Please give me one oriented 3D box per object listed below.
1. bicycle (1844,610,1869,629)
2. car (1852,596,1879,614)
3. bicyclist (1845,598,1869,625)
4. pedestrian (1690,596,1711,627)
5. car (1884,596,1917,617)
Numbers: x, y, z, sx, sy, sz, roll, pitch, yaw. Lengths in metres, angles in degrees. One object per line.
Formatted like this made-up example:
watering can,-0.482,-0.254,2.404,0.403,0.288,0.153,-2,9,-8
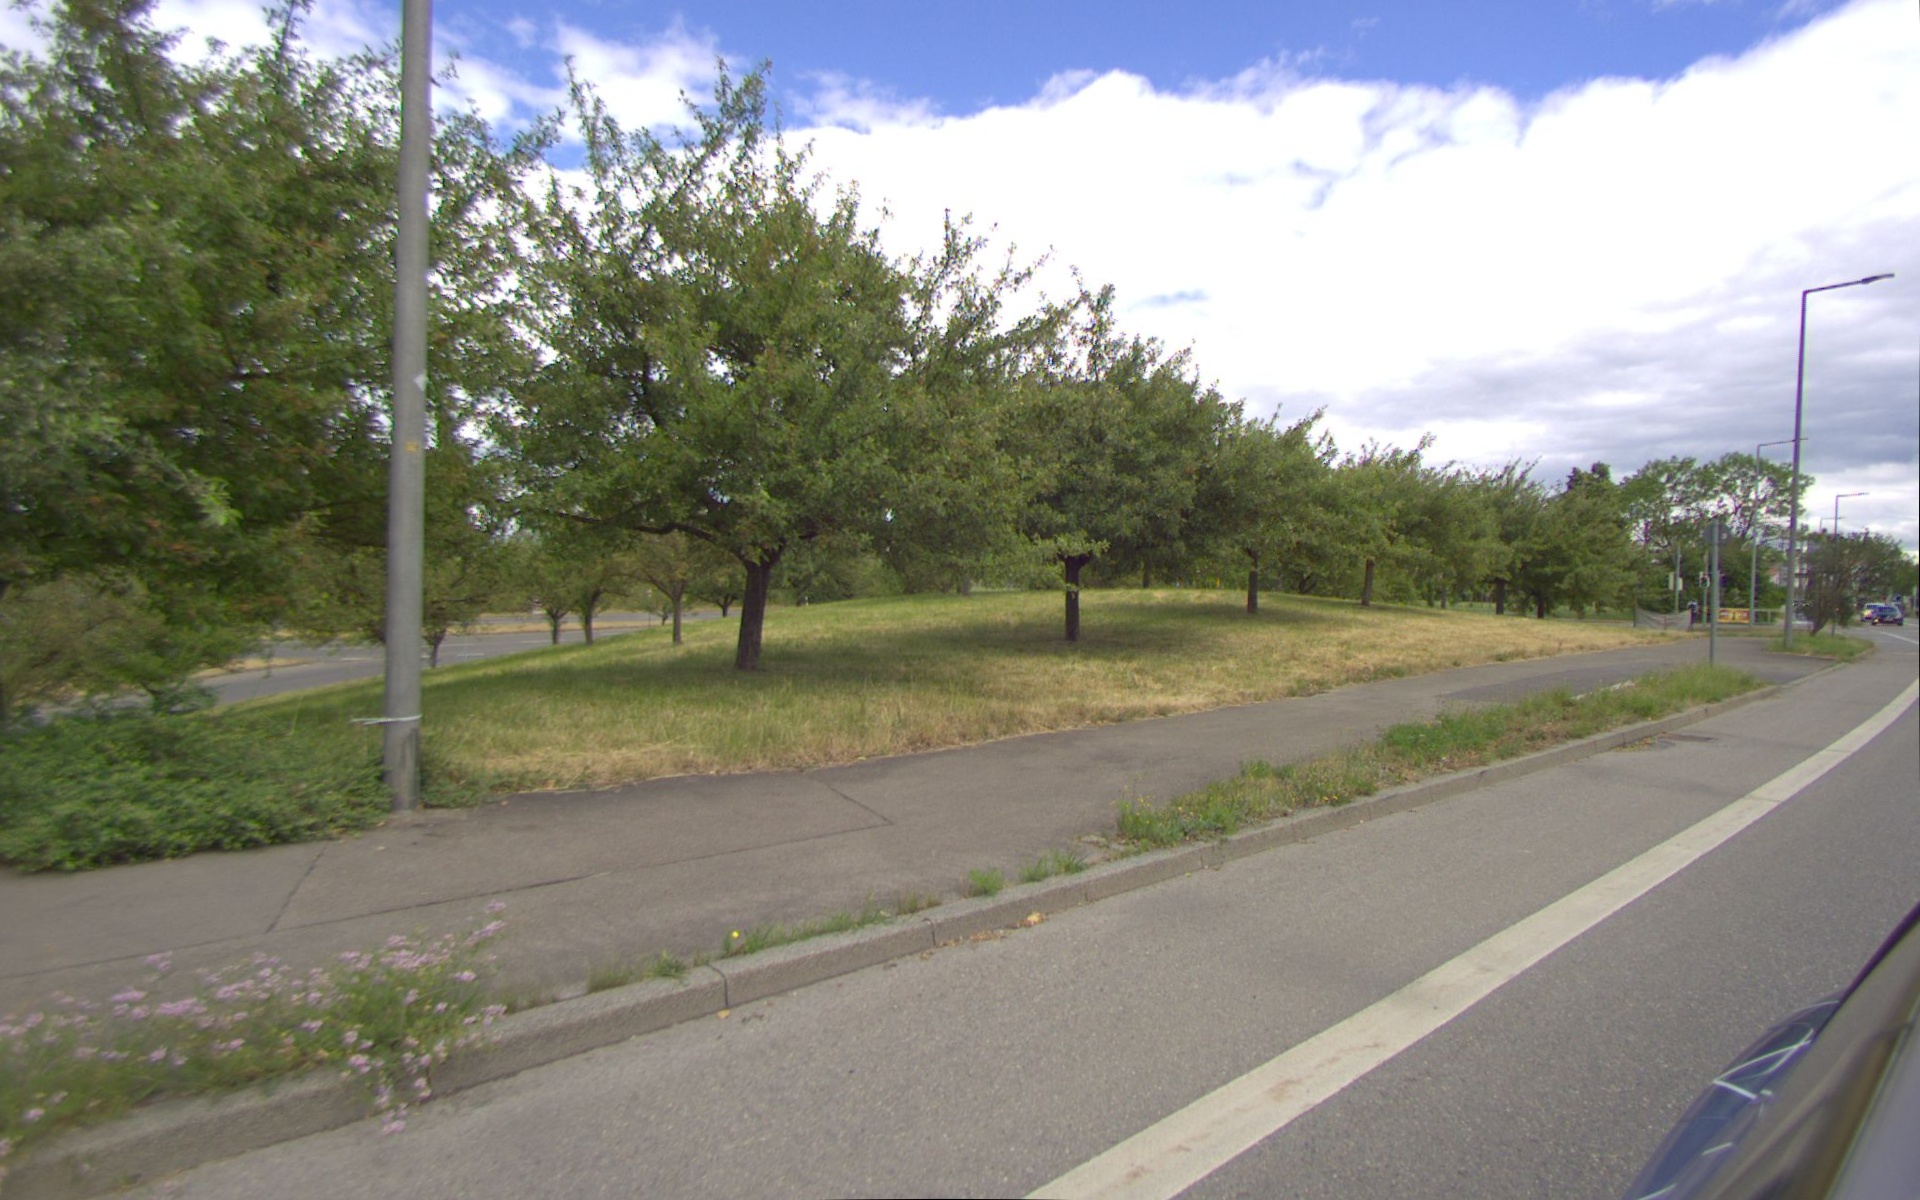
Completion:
bicycle,58.543,1.272,66.077,1.012,1.148,2.639,2,2,38
car,77.055,0.387,86.107,1.730,1.459,4.301,0,0,42
bicyclist,58.578,0.723,66.104,1.012,1.729,1.185,2,1,38
pedestrian,46.393,0.718,63.429,0.751,1.907,0.800,0,0,0
car,68.674,0.477,73.954,1.730,1.459,4.301,0,0,42
